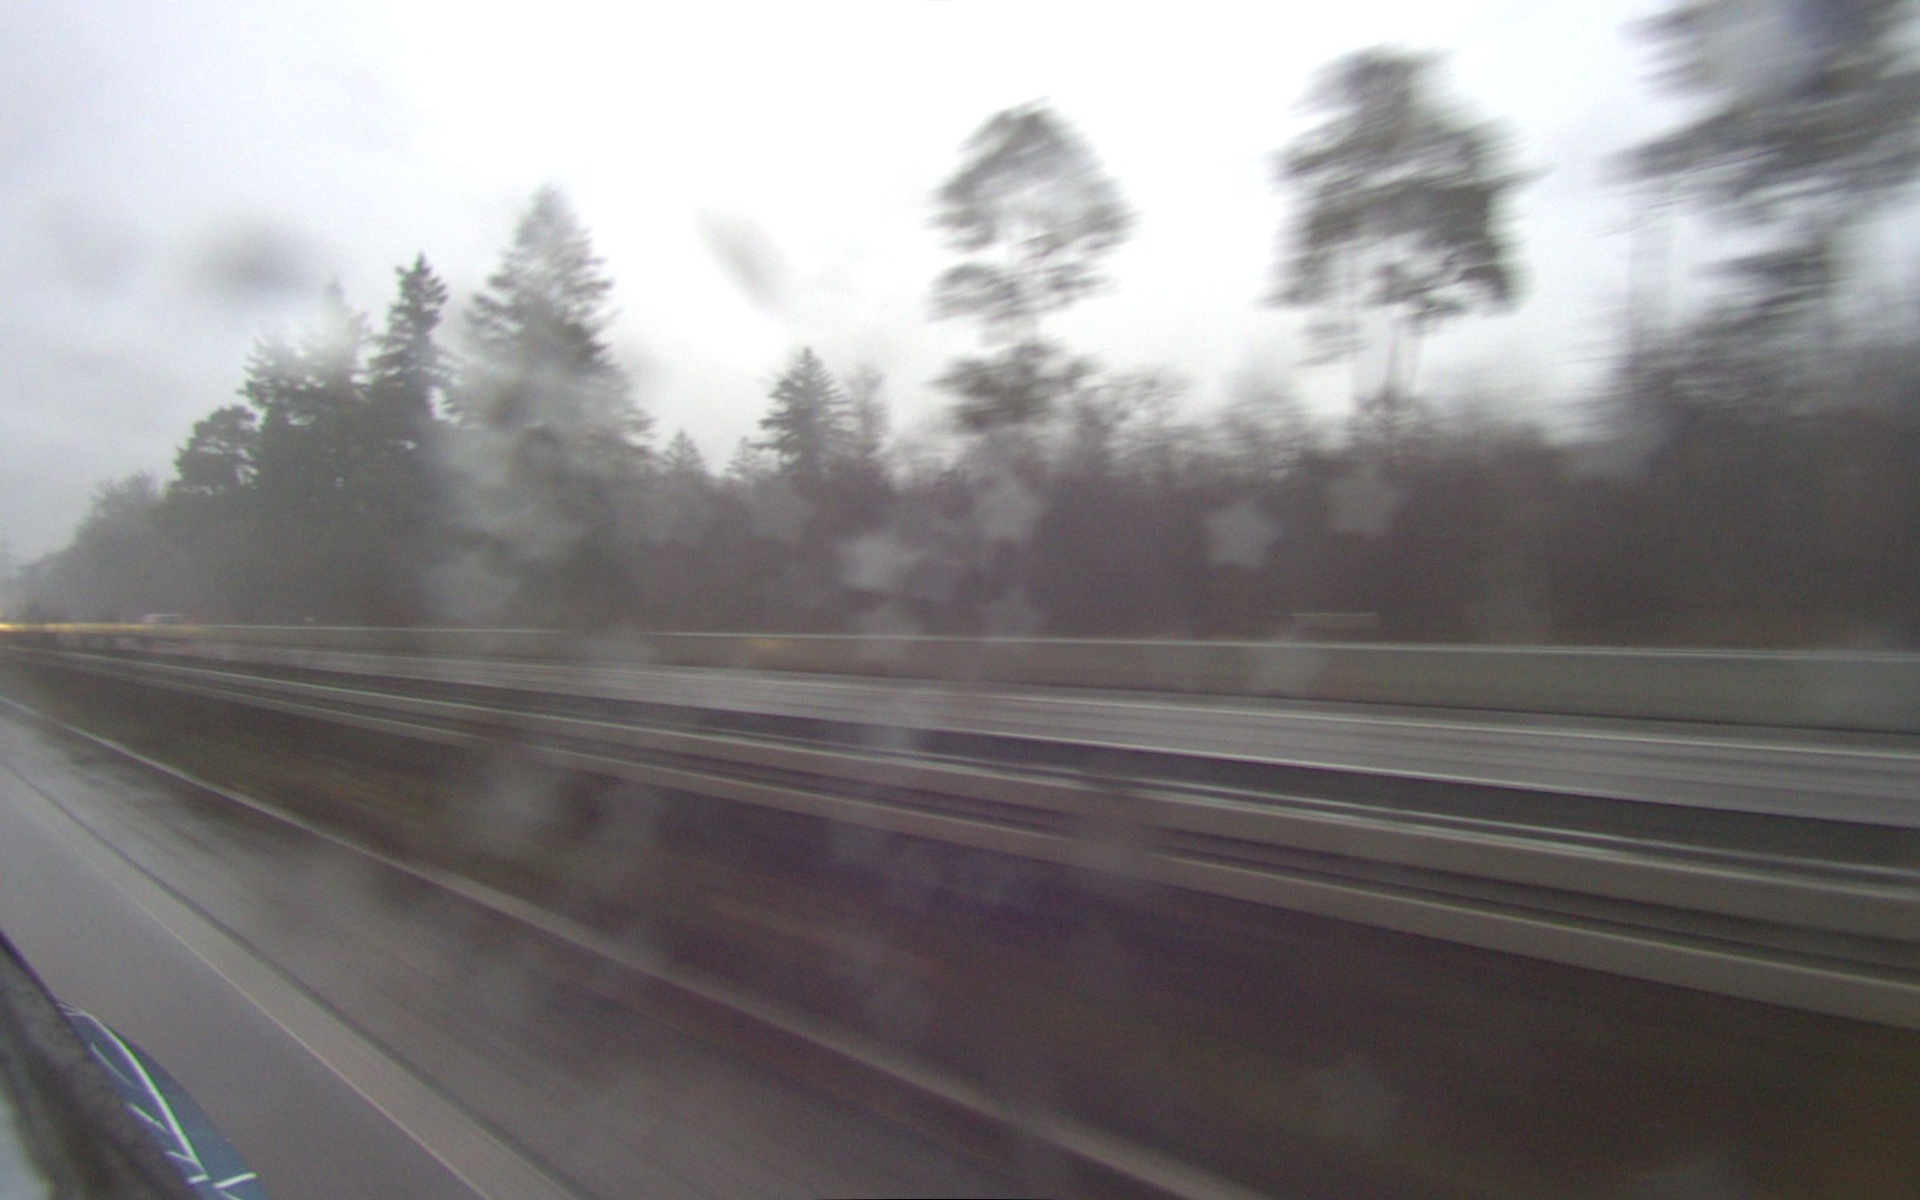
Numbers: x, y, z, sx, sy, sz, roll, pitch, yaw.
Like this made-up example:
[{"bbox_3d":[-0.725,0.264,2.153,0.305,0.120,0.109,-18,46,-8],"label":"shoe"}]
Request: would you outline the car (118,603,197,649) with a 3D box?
[{"bbox_3d":[-38.068,1.214,47.976,4.780,2.029,1.974,-1,-1,39],"label":"car"}]
